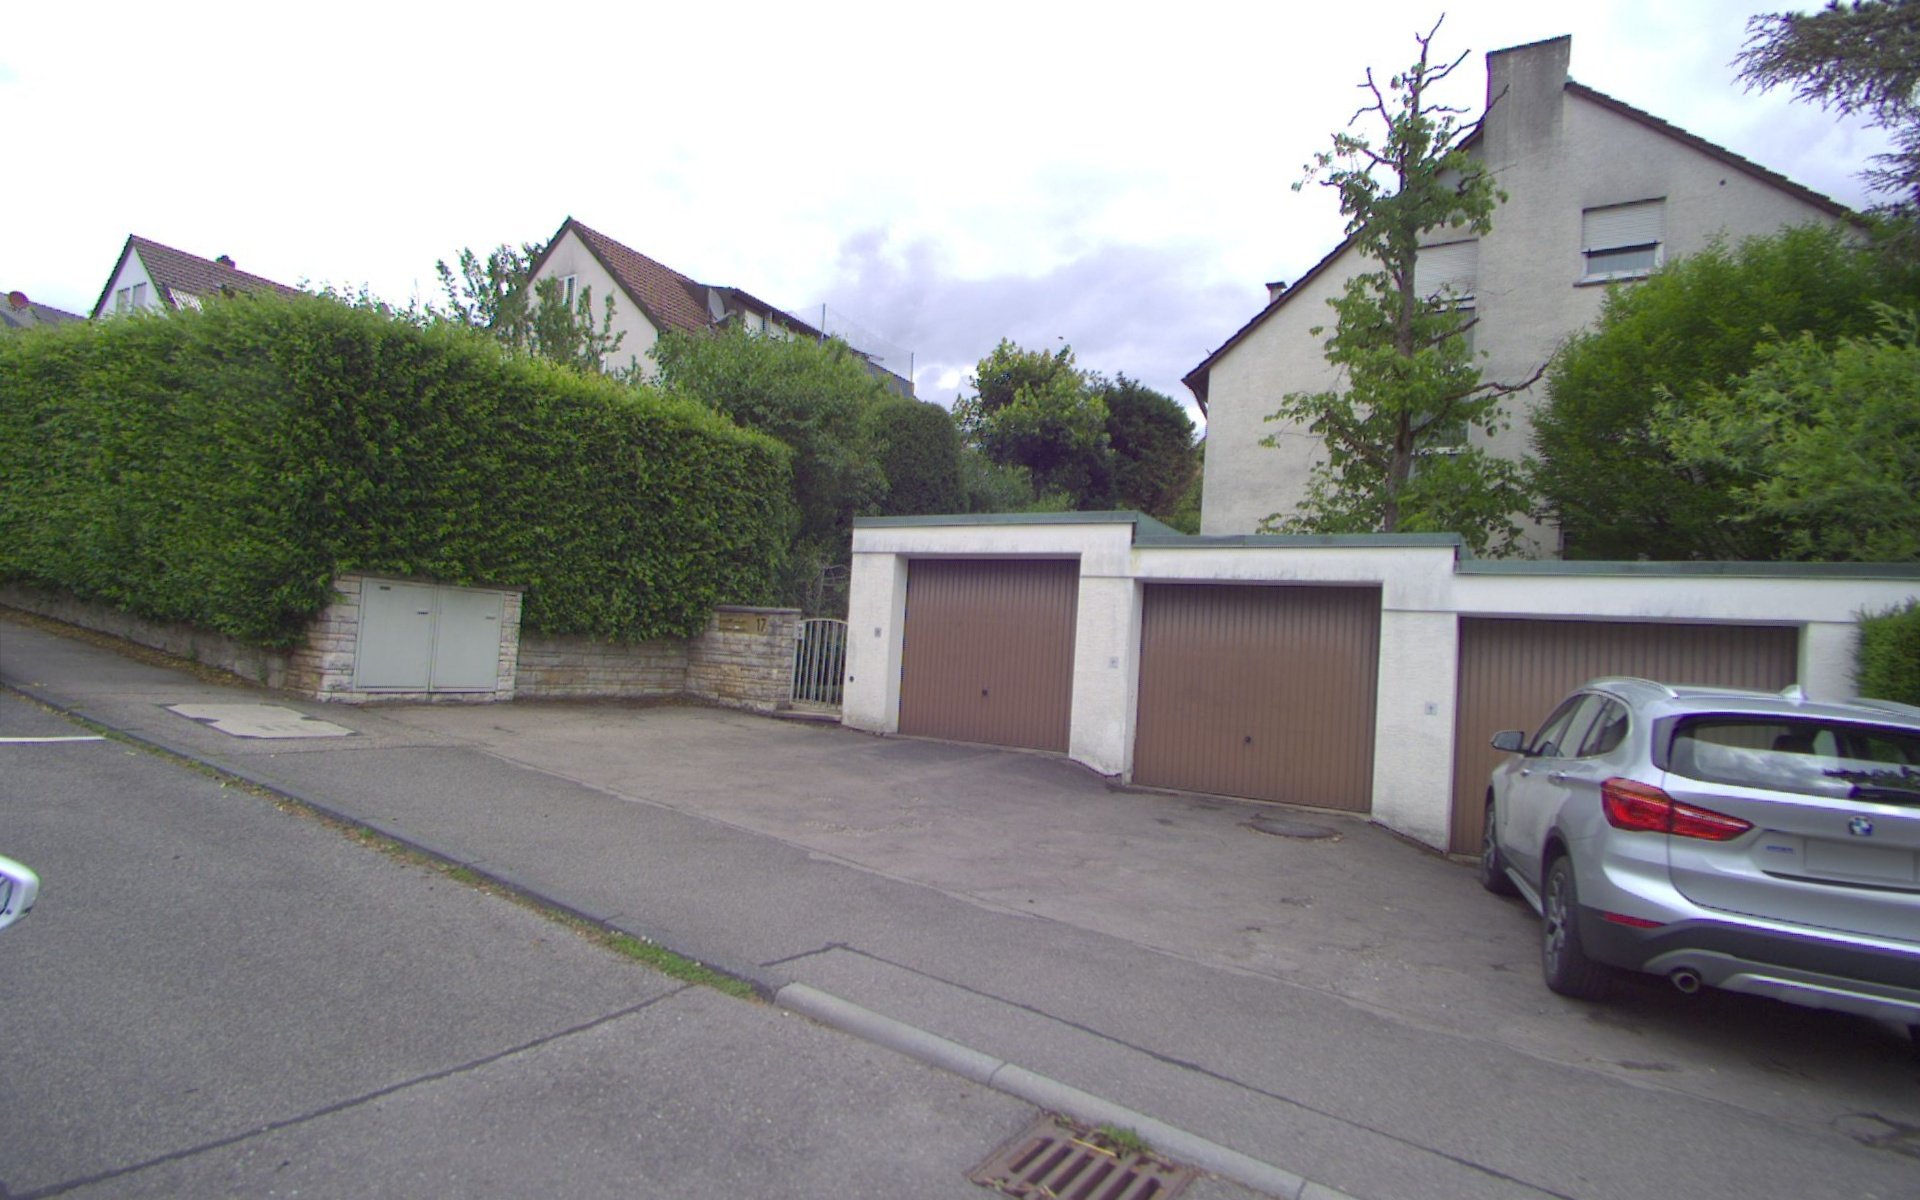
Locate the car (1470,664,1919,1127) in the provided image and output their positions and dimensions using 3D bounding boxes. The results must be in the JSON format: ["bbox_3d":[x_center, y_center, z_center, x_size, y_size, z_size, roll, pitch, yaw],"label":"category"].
[{"bbox_3d":[4.306,1.310,5.867,1.848,1.618,4.221,7,-1,22],"label":"car"}]

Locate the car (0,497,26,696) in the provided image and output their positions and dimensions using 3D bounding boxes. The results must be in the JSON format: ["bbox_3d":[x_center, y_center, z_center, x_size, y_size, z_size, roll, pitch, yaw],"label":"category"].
[{"bbox_3d":[-9.320,-0.279,8.047,3.695,1.526,1.664,7,-1,31],"label":"car"}]
